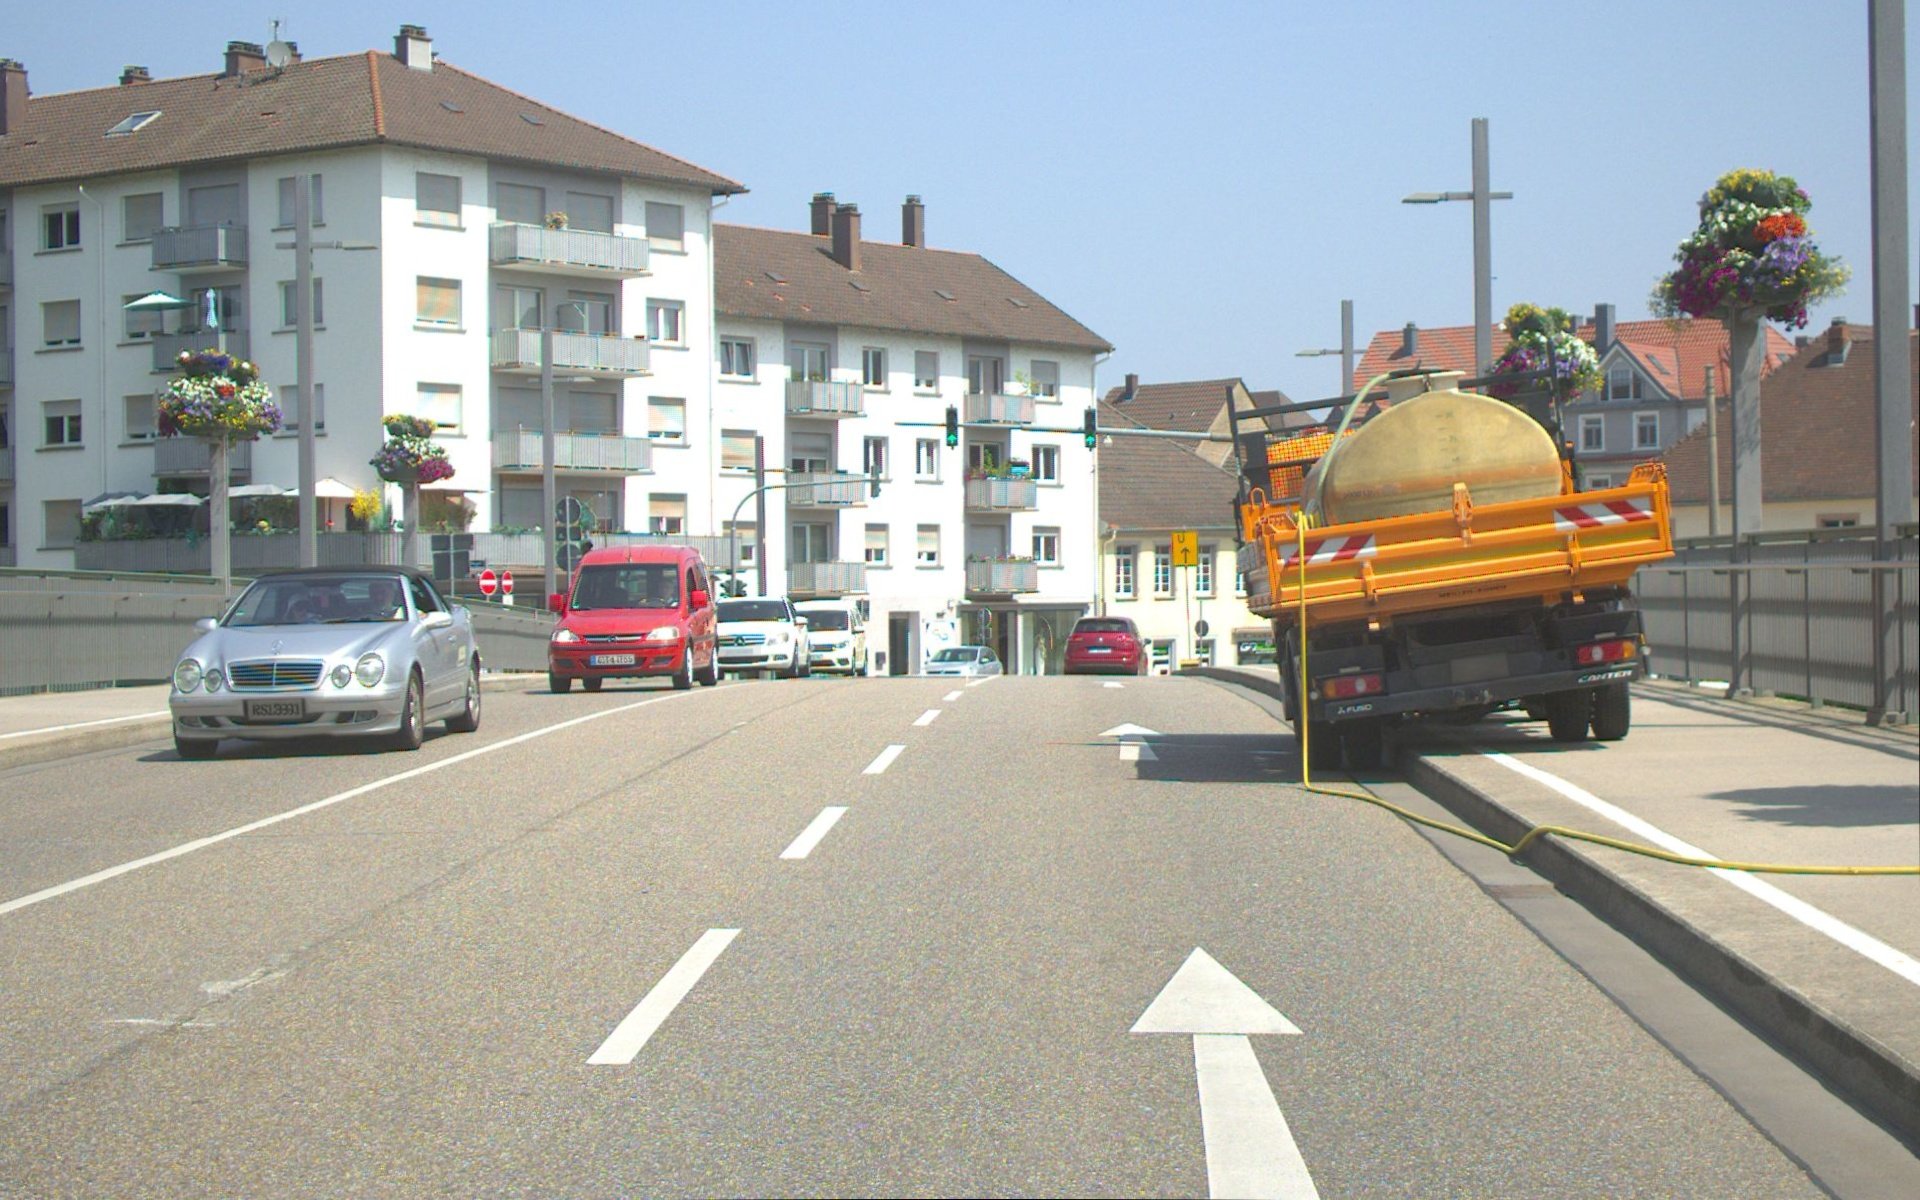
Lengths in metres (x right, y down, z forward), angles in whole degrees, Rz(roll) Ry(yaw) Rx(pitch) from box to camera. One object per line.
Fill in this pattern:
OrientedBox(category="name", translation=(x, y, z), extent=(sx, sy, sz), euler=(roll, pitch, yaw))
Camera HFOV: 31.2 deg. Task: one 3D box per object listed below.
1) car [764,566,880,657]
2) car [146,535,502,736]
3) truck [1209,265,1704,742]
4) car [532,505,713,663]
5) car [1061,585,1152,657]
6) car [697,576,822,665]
OrientedBox(category="car", translation=(-3.069, 0.230, 77.294), extent=(1.759, 1.851, 4.645), euler=(1, 2, 8))
OrientedBox(category="car", translation=(-4.718, 0.209, 26.109), extent=(1.698, 1.354, 4.456), euler=(-2, 1, 2))
OrientedBox(category="truck", translation=(3.065, -0.614, 22.698), extent=(2.606, 2.682, 5.823), euler=(-1, 1, 2))
OrientedBox(category="car", translation=(-3.990, -0.195, 41.203), extent=(1.736, 1.771, 4.177), euler=(-1, 0, 0))
OrientedBox(category="car", translation=(3.541, 0.492, 83.713), extent=(1.990, 1.607, 4.342), euler=(-2, 1, 0))
OrientedBox(category="car", translation=(-3.395, 0.318, 58.900), extent=(1.844, 1.427, 4.714), euler=(-1, 0, 0))
